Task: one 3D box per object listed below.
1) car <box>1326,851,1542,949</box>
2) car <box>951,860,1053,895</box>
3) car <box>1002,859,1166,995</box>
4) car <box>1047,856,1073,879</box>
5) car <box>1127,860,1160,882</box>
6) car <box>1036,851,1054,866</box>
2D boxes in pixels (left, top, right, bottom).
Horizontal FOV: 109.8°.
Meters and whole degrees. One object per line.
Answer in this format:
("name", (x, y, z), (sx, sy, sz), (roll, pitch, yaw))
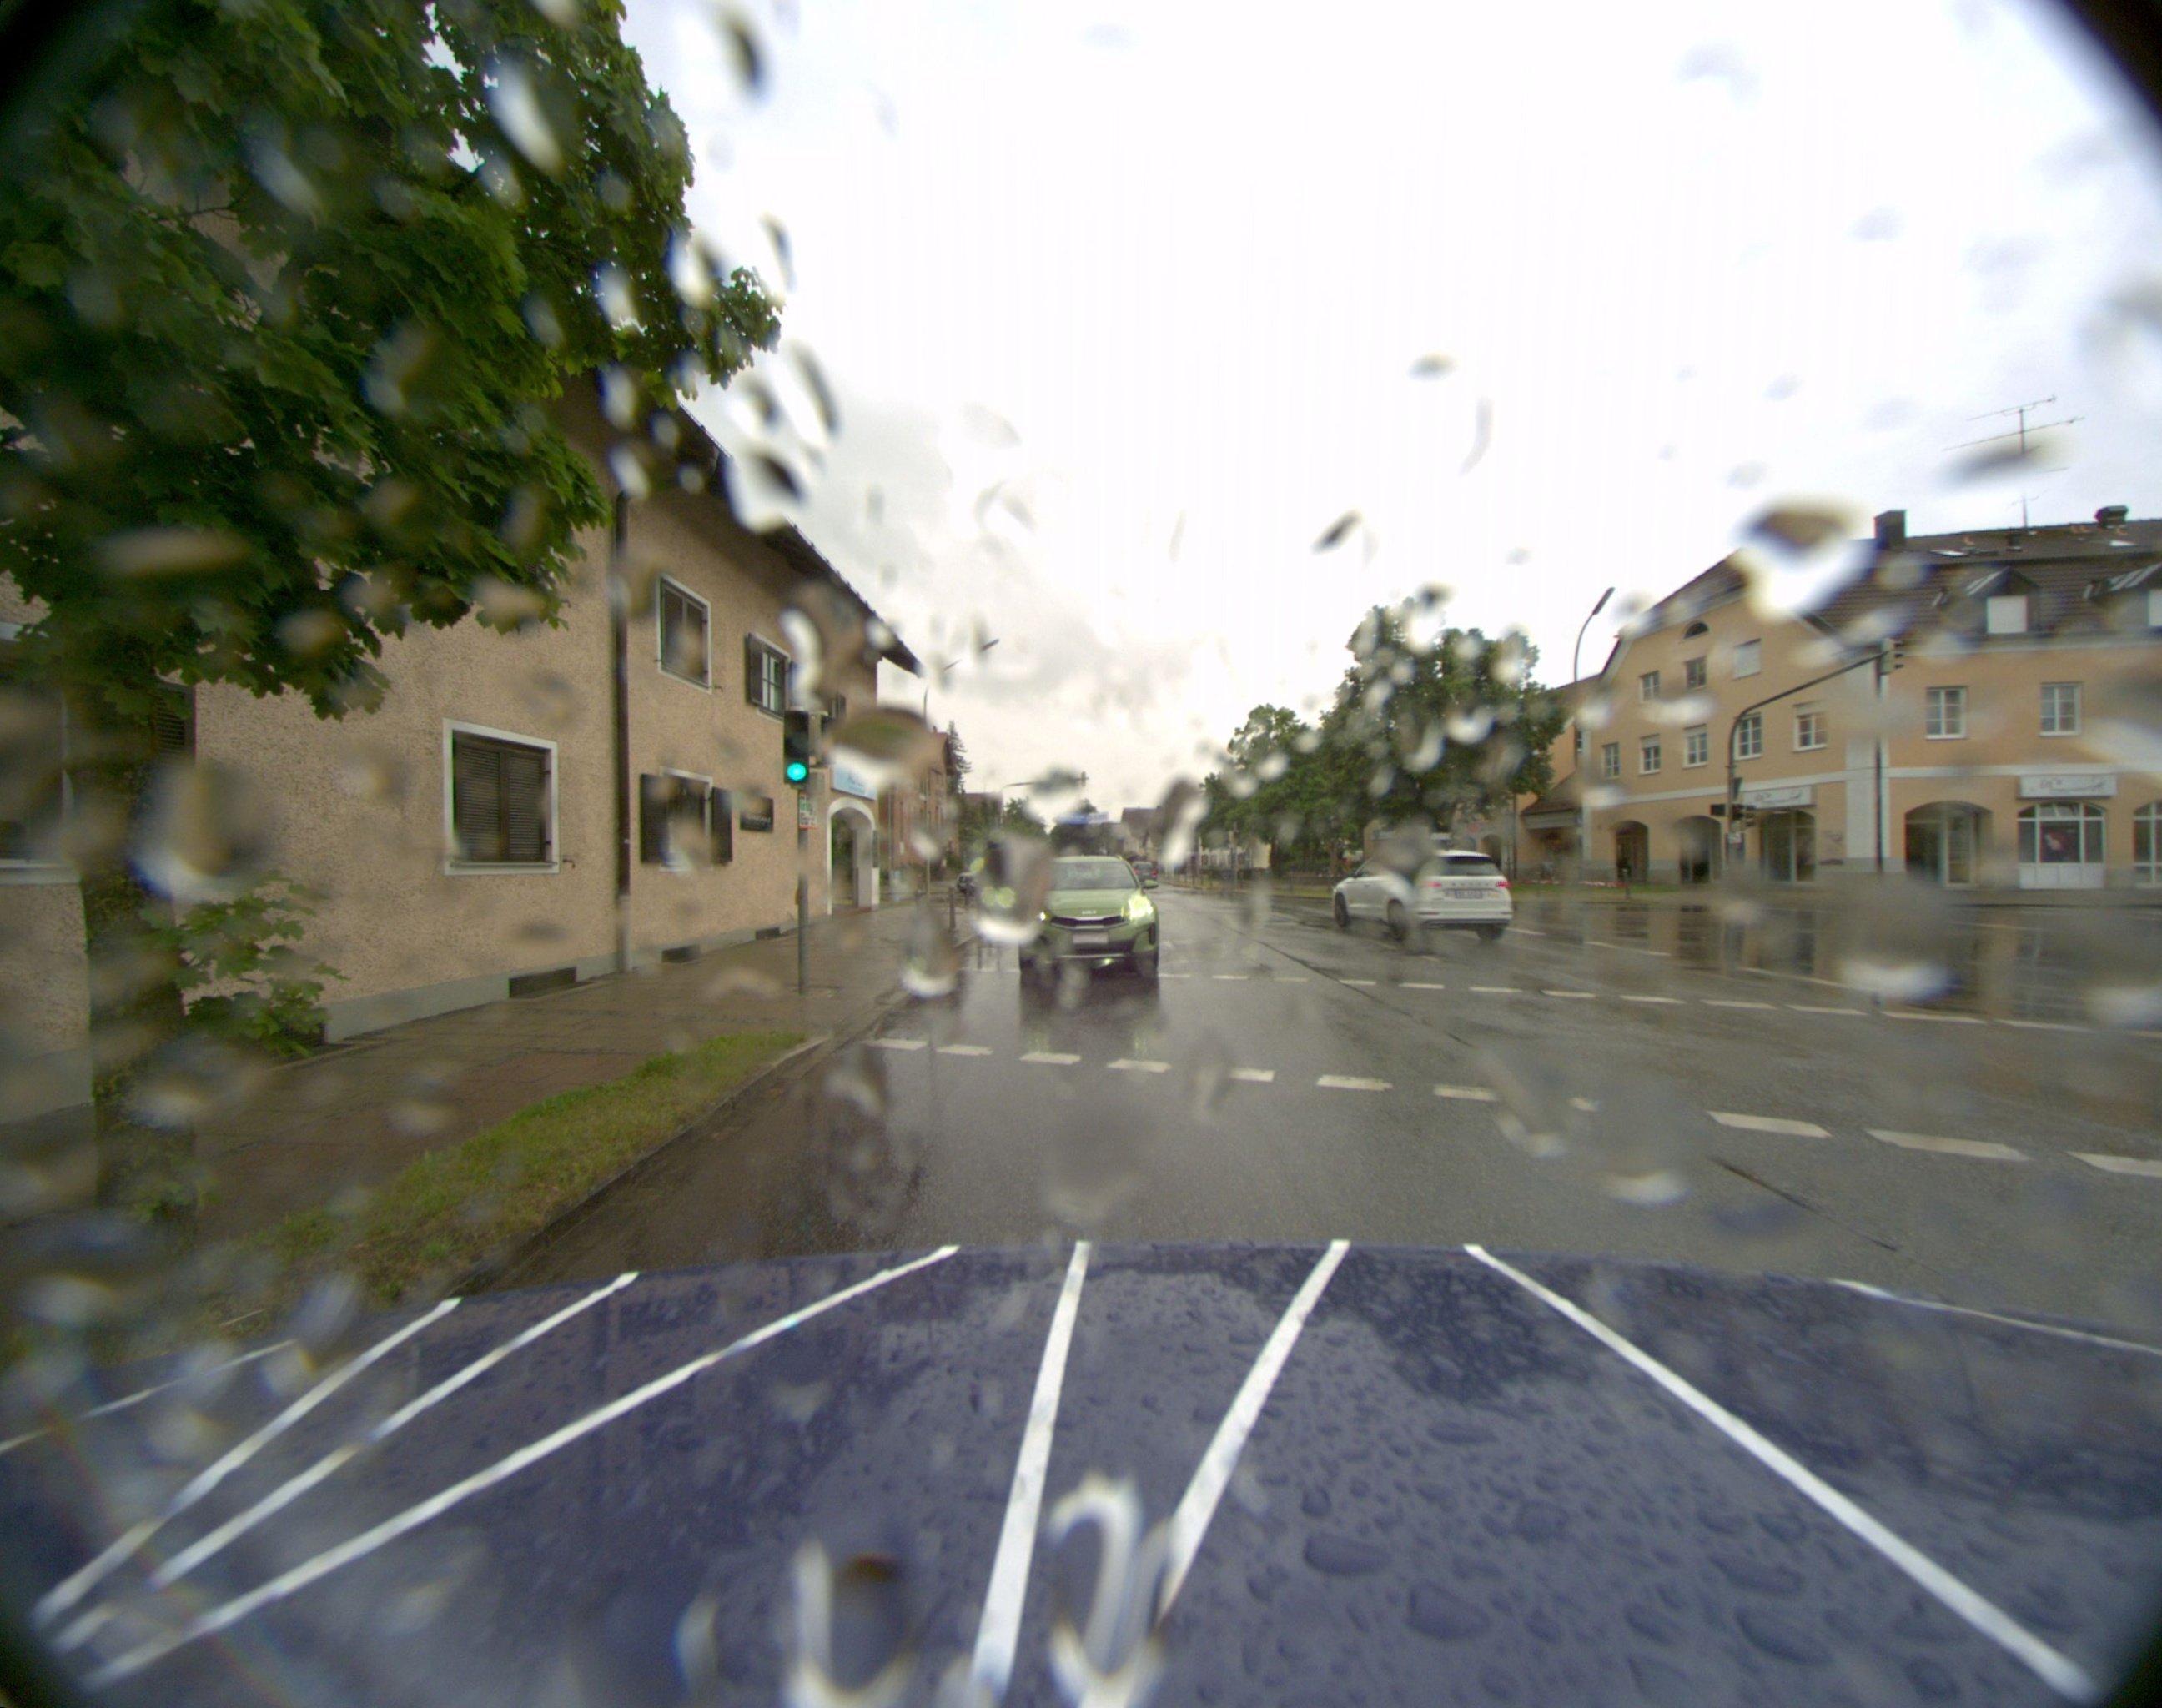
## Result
("car", (6.236, 0.717, 14.048), (1.972, 1.553, 4.151), (0, 0, -2))
("car", (-3.626, 1.032, 35.599), (4.620, 1.489, 1.731), (0, 0, -42))
("car", (0.063, 0.868, 10.975), (1.872, 1.505, 4.105), (-2, 0, 1))
("car", (-1.439, 0.898, 52.748), (1.637, 1.508, 4.000), (0, 0, 0))
("car", (4.440, 1.205, 54.656), (1.921, 1.524, 3.898), (0, 0, -3))
("car", (-5.114, 0.647, 107.105), (2.218, 1.977, 4.952), (0, 0, -5))
